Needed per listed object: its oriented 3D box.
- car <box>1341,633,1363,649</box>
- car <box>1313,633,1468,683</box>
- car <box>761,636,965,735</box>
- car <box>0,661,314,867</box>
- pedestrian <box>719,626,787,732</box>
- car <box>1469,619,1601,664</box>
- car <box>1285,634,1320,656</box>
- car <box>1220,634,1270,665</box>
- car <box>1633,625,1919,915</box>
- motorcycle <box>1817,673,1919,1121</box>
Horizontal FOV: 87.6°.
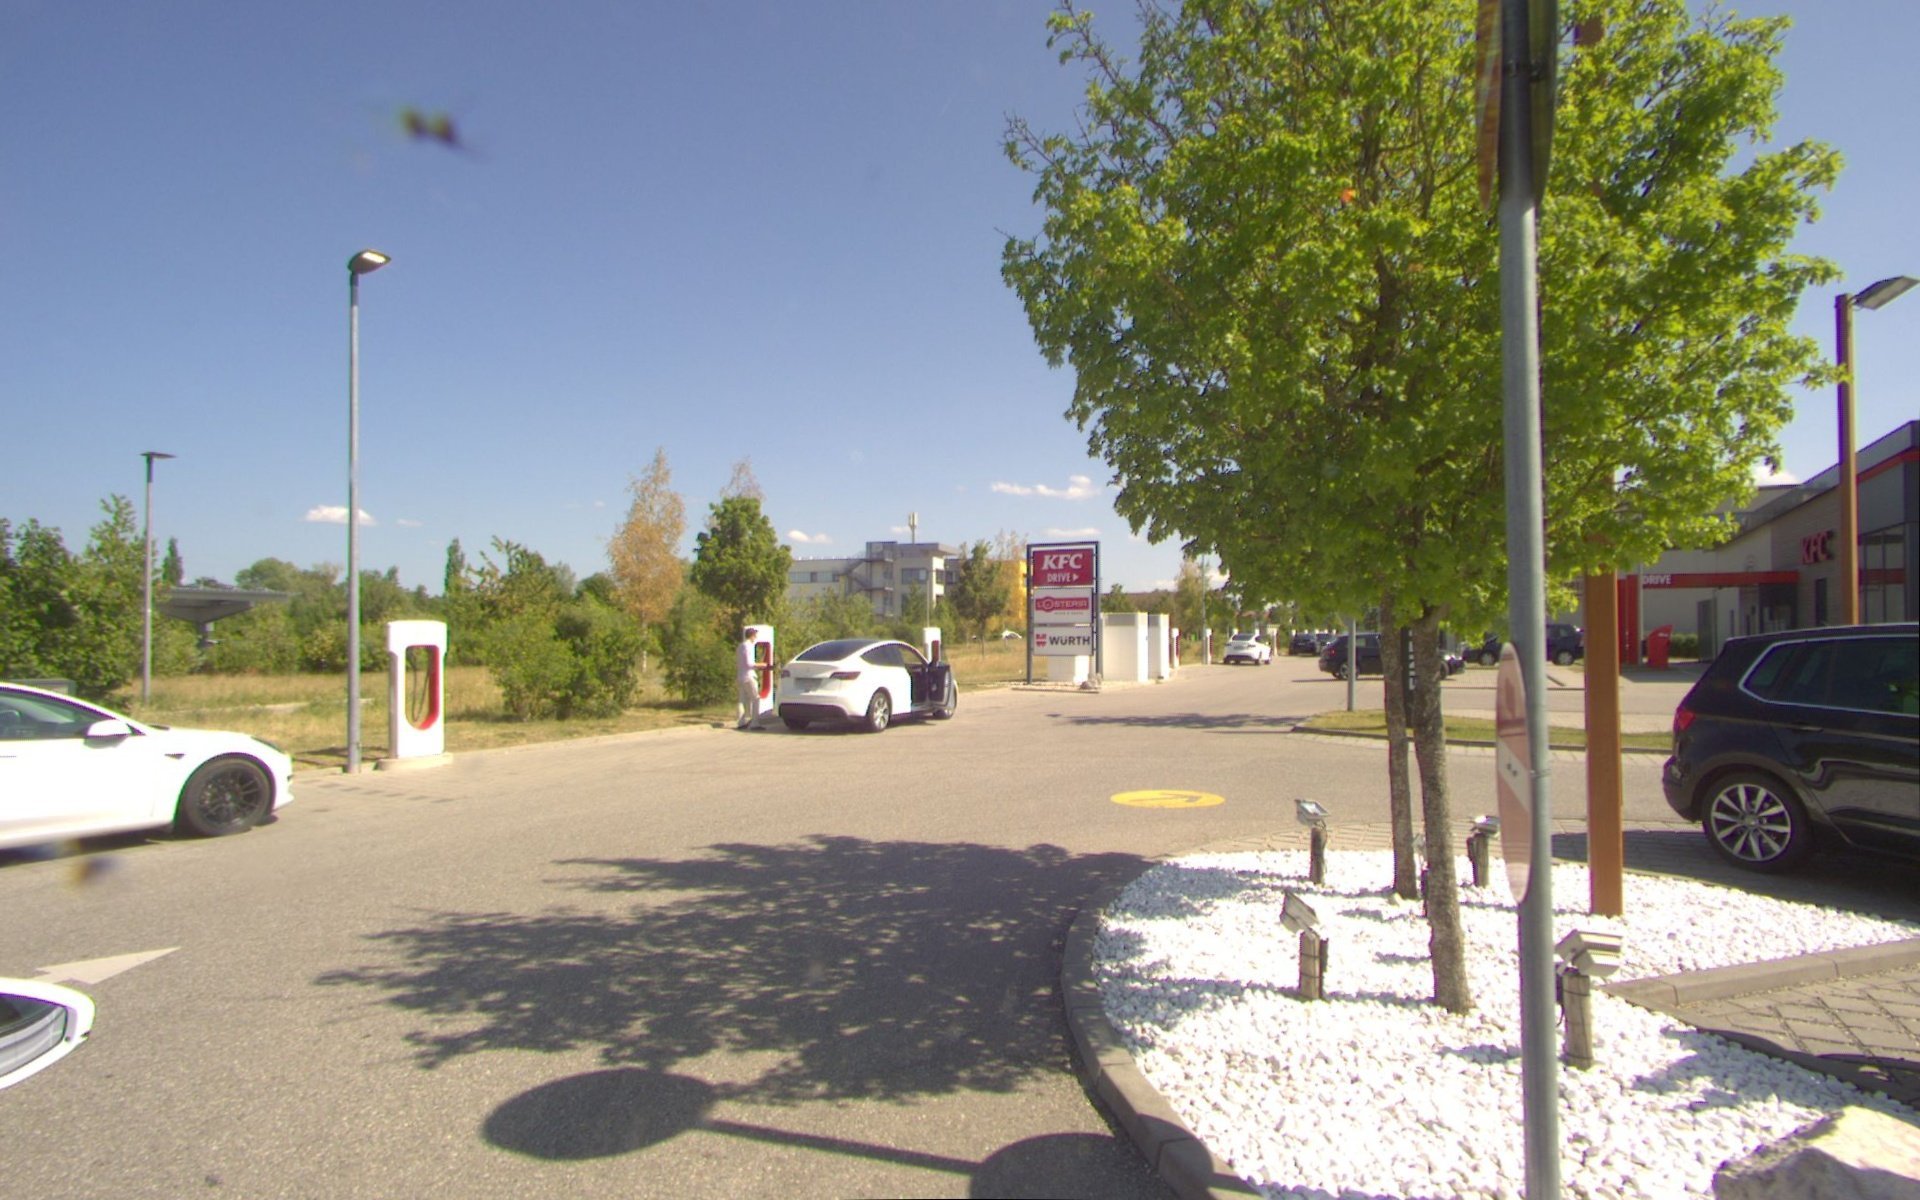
[{"bbox_3d":[38.463,4.000,98.261,1.720,1.588,3.988,-1,-2,25],"label":"car"},{"bbox_3d":[13.118,1.750,30.743,4.137,1.459,1.697,-1,-1,15],"label":"car"},{"bbox_3d":[-1.690,1.523,19.084,1.840,1.620,4.475,-1,-2,25],"label":"car"},{"bbox_3d":[-7.654,1.220,7.520,1.794,1.395,4.434,-1,-2,27],"label":"car"},{"bbox_3d":[-3.701,1.388,17.955,0.725,1.823,1.033,-1,-1,23],"label":"pedestrian"},{"bbox_3d":[22.575,1.618,39.508,4.311,1.707,1.637,-1,-2,24],"label":"car"},{"bbox_3d":[24.892,3.238,72.714,1.919,1.588,3.988,-1,-2,25],"label":"car"},{"bbox_3d":[15.273,2.610,53.524,1.920,1.588,3.987,-1,-2,26],"label":"car"},{"bbox_3d":[6.184,0.907,5.223,1.863,1.556,4.183,0,-2,-18],"label":"car"},{"bbox_3d":[3.558,0.869,2.244,1.053,1.267,2.246,2,-1,-21],"label":"motorcycle"}]
